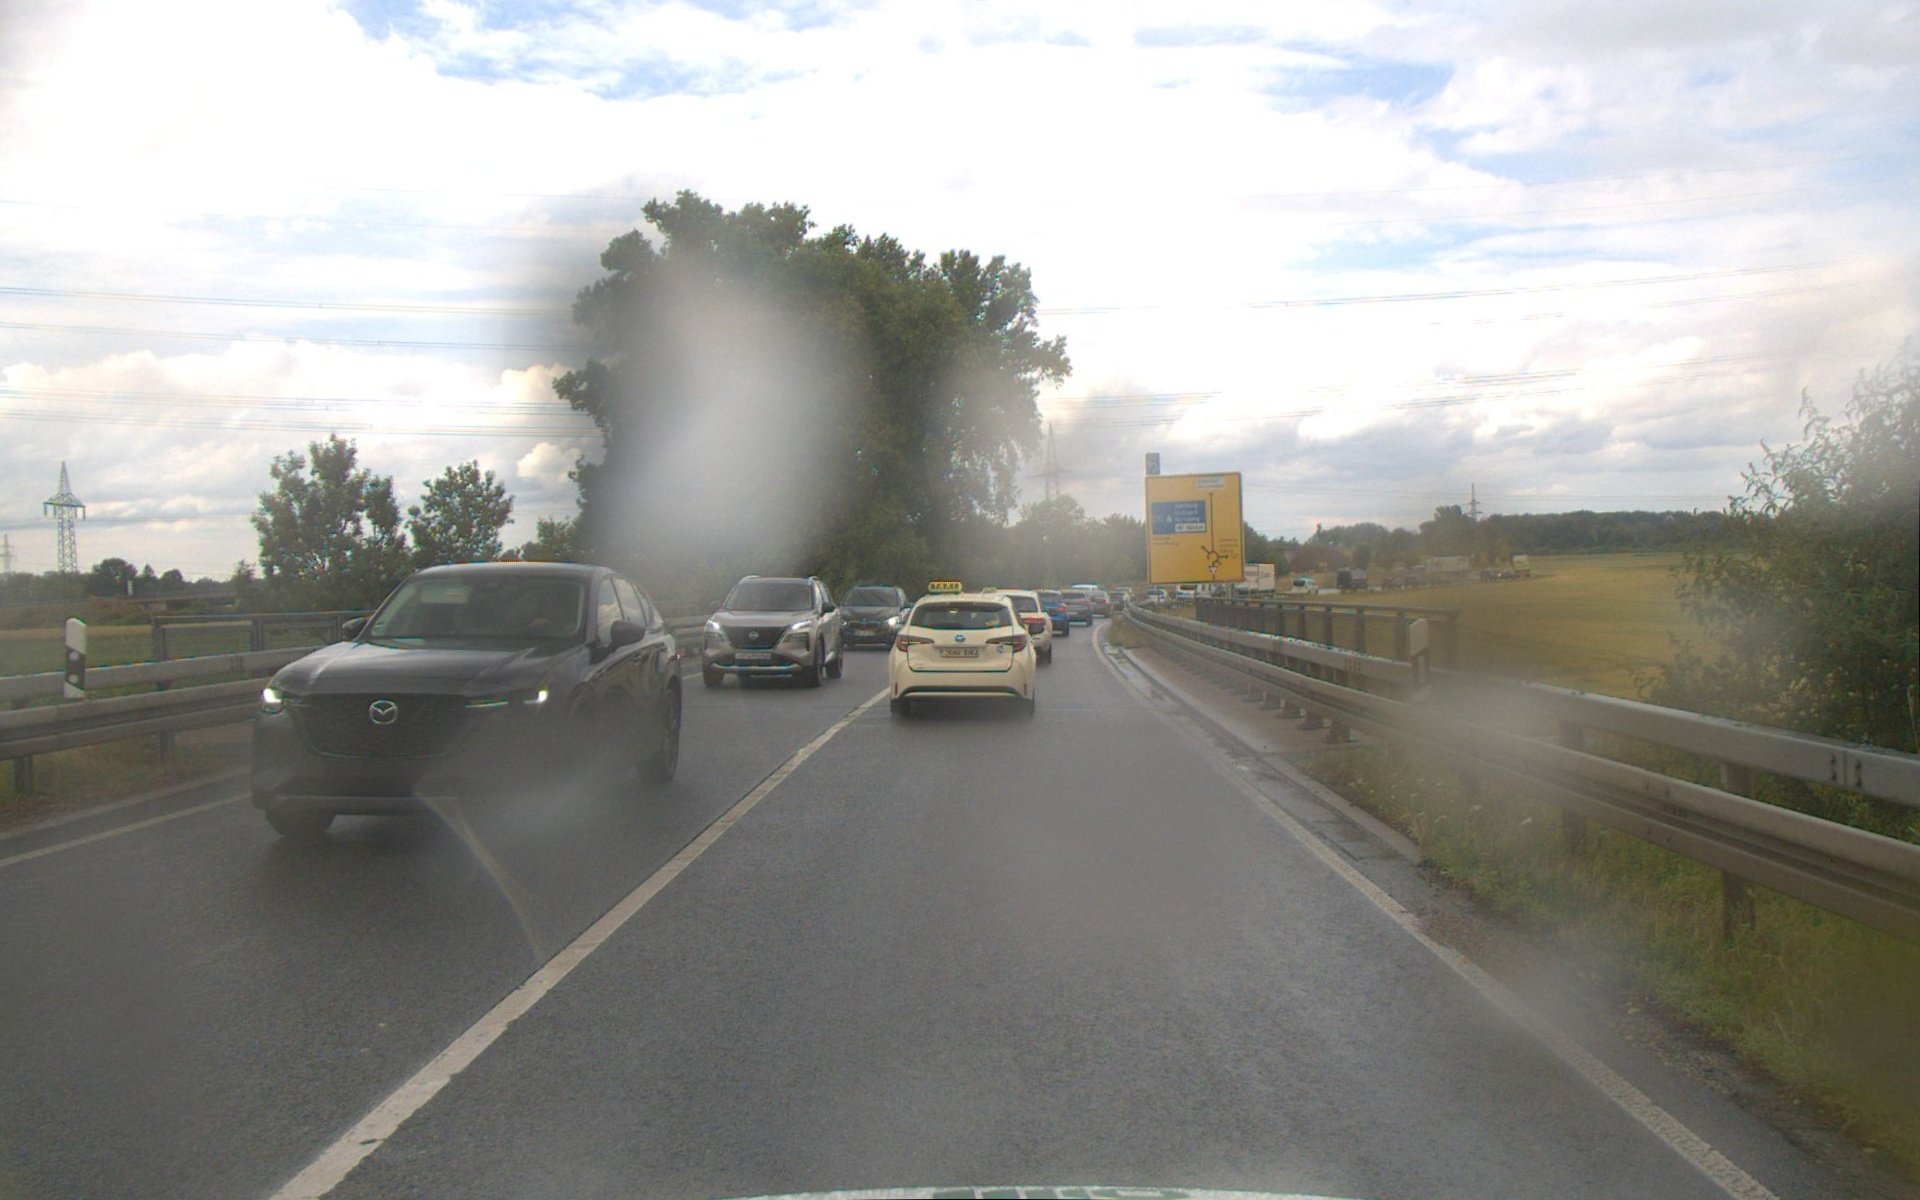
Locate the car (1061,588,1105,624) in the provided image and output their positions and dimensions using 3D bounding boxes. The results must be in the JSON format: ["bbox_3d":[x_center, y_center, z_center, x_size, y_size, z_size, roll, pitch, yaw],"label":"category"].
[{"bbox_3d":[5.234,0.238,70.112,1.629,1.489,3.479,0,0,8],"label":"car"}]

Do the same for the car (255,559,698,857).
[{"bbox_3d":[-3.087,0.578,11.600,1.710,1.682,4.525,0,1,1],"label":"car"}]

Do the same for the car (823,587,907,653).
[{"bbox_3d":[-2.353,0.464,41.862,1.860,1.568,4.023,0,1,0],"label":"car"}]

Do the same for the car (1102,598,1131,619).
[{"bbox_3d":[10.281,0.535,108.751,1.451,1.332,3.479,0,0,13],"label":"car"}]

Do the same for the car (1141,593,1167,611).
[{"bbox_3d":[14.783,0.144,125.901,1.451,1.332,3.479,0,0,15],"label":"car"}]

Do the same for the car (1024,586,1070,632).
[{"bbox_3d":[2.894,0.301,55.125,1.474,1.462,3.356,0,0,2],"label":"car"}]

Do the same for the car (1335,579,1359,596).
[{"bbox_3d":[47.964,-1.571,204.778,1.955,2.049,3.994,0,-1,28],"label":"car"}]

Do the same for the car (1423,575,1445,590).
[{"bbox_3d":[67.159,-2.420,234.313,1.959,2.049,3.987,0,-1,34],"label":"car"}]

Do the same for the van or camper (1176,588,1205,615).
[{"bbox_3d":[19.822,0.119,141.978,1.951,2.293,4.002,0,-1,16],"label":"van or camper"}]

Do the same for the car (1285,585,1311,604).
[{"bbox_3d":[38.650,-0.637,189.149,2.123,2.049,3.997,0,-1,25],"label":"car"}]

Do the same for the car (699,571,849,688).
[{"bbox_3d":[-2.919,0.404,26.786,1.803,1.730,4.390,1,1,1],"label":"car"}]

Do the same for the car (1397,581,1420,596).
[{"bbox_3d":[61.356,-1.593,226.065,1.958,2.049,3.989,0,-1,33],"label":"car"}]

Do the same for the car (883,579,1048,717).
[{"bbox_3d":[0.111,0.544,20.839,1.866,1.564,4.162,0,0,1],"label":"car"}]

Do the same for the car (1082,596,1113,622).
[{"bbox_3d":[7.788,0.519,93.553,1.625,1.434,3.907,0,-1,7],"label":"car"}]

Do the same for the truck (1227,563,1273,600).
[{"bbox_3d":[29.744,-1.893,169.261,3.076,3.624,7.520,0,-1,22],"label":"truck"}]

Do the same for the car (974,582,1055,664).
[{"bbox_3d":[1.169,0.451,34.366,1.545,1.600,3.683,0,0,4],"label":"car"}]

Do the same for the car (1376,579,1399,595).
[{"bbox_3d":[56.346,-1.645,217.894,2.183,2.049,3.995,0,-1,27],"label":"car"}]
